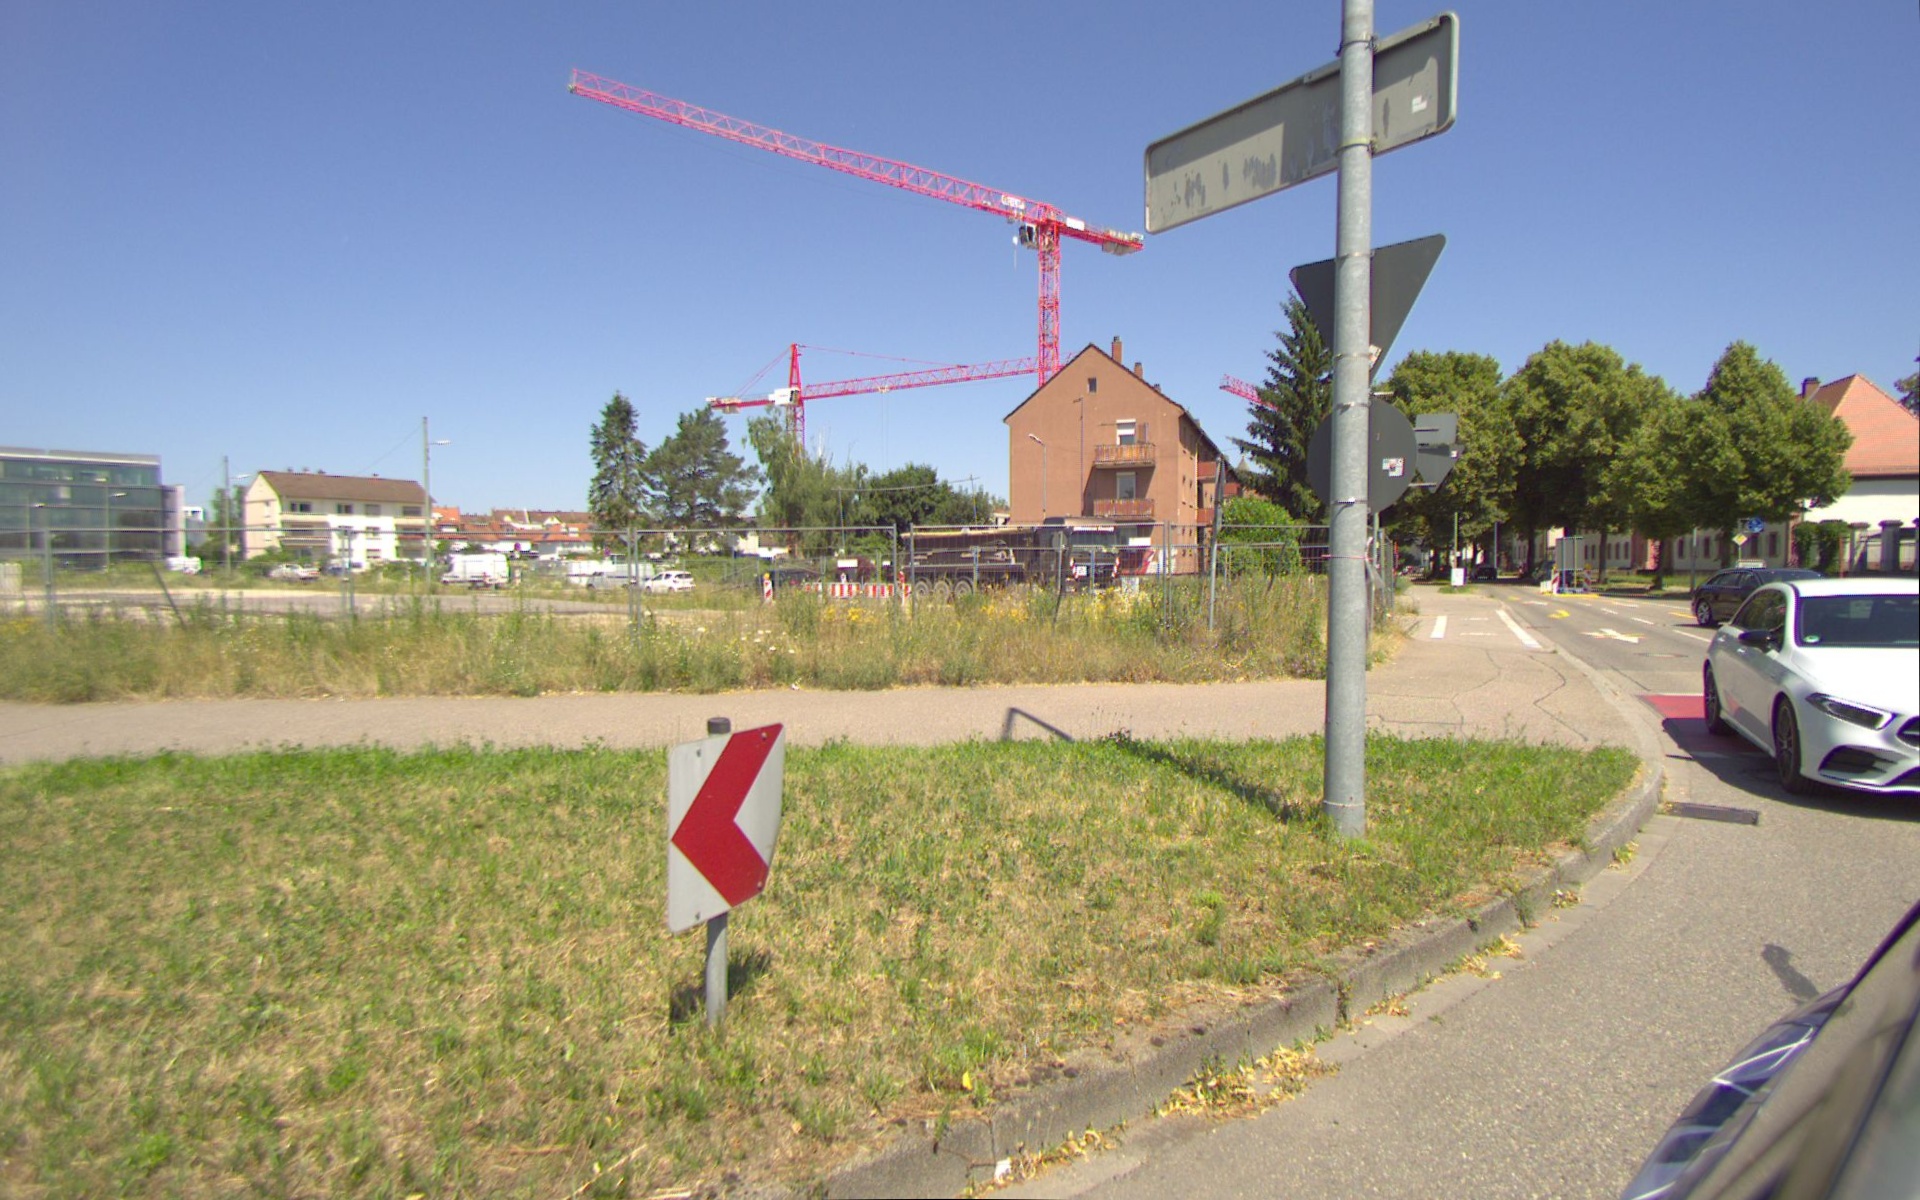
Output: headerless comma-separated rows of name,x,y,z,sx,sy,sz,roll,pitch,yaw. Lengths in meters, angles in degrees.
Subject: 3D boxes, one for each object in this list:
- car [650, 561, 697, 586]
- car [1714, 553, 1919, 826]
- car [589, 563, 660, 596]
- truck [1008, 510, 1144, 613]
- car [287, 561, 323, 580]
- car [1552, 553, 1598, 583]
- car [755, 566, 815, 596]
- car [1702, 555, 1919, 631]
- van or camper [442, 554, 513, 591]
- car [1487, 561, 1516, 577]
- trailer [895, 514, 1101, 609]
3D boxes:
car,-17.321,-1.614,61.230,2.777,1.422,1.399,2,4,39
car,6.864,0.445,7.264,1.765,1.565,3.924,-1,1,29
car,-21.359,-1.335,64.345,4.646,2.038,1.765,1,2,32
truck,4.225,-1.439,37.913,3.098,3.576,4.976,-1,2,-21
car,-61.198,-2.771,94.530,3.600,1.605,1.659,0,2,37
car,40.774,-2.163,67.235,1.668,1.790,4.179,4,4,19
car,-9.592,-1.056,55.420,3.403,1.633,1.351,1,2,40
car,18.940,-0.205,22.480,1.770,1.469,4.613,-1,1,5
van or camper,-36.008,-2.068,75.423,6.965,2.634,1.904,1,2,38
car,48.409,-2.762,90.552,1.621,1.399,3.869,0,2,17
trailer,1.375,-1.579,42.276,3.114,3.576,8.968,-2,2,-45
